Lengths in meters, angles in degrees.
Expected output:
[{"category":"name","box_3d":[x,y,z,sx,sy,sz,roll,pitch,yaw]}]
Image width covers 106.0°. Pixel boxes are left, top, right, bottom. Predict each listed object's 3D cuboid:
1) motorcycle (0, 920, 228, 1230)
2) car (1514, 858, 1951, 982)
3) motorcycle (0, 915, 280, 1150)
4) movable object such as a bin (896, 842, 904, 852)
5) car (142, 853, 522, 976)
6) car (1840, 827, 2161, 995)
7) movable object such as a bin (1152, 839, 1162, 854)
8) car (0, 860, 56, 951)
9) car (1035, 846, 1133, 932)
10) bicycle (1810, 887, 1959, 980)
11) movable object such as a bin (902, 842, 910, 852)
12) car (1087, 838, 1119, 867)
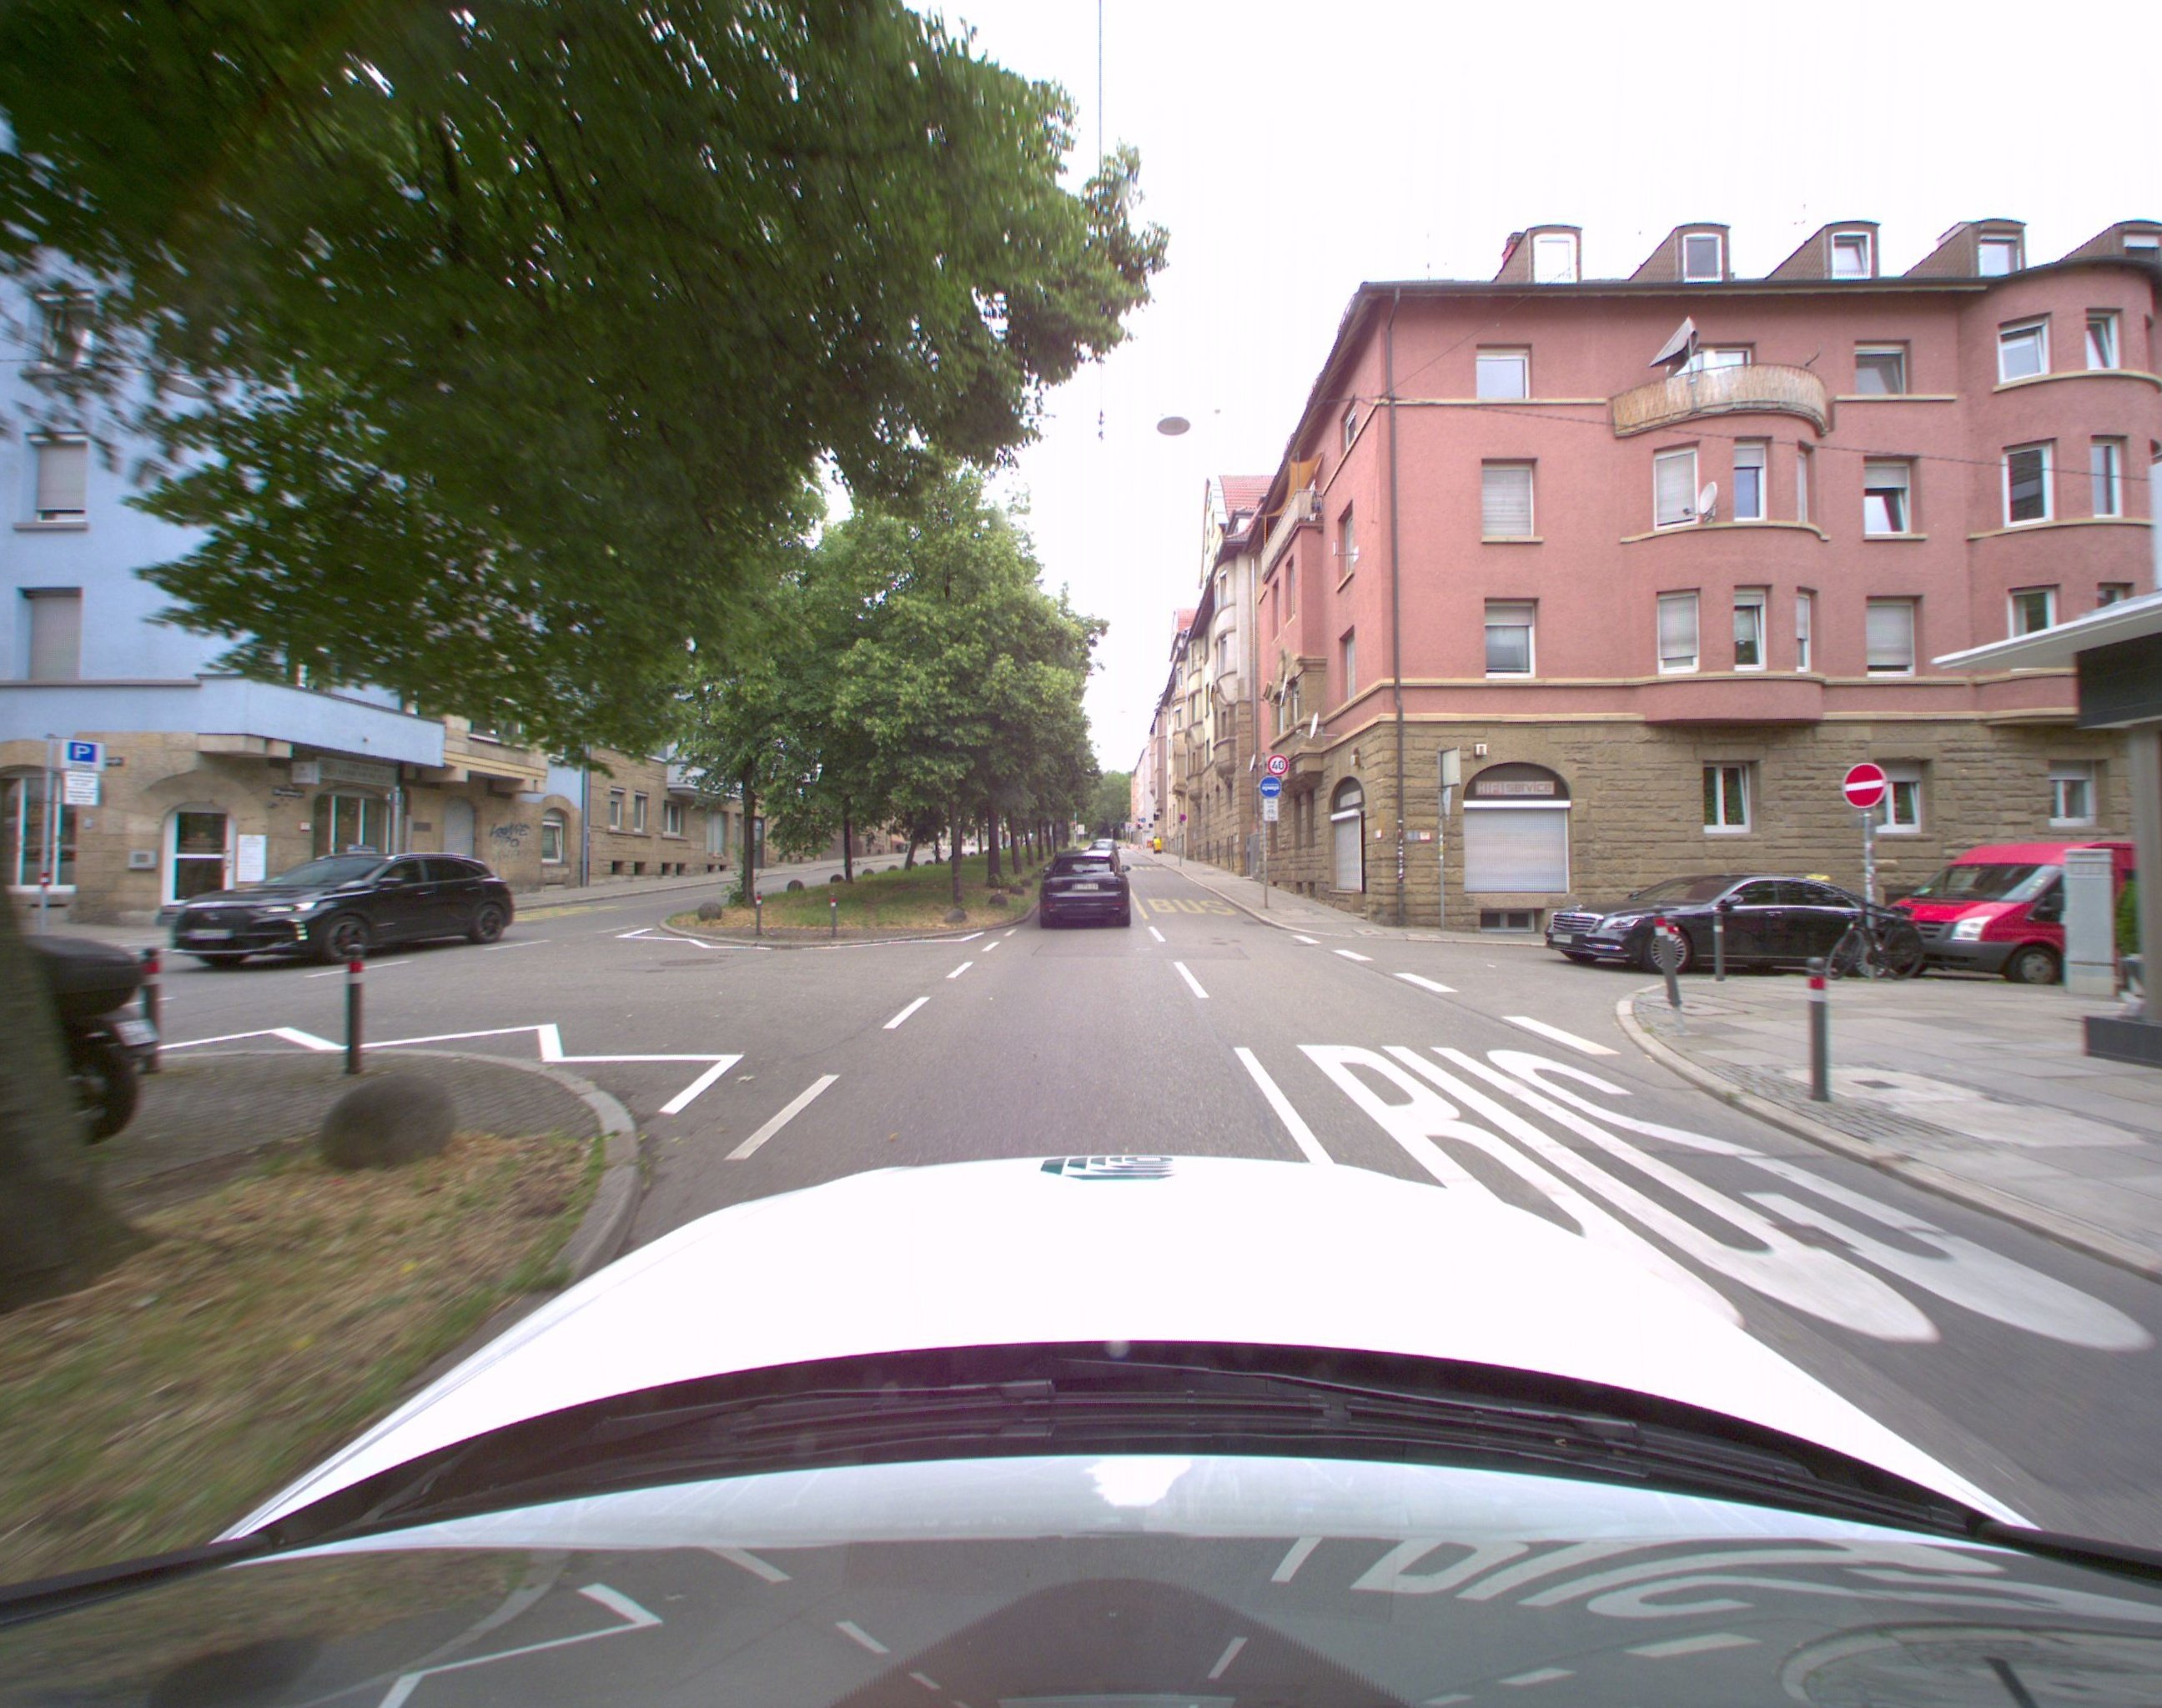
[{"category":"motorcycle","box_3d":[-4.489,0.814,2.498,0.881,1.096,2.486,0,-2,8]},{"category":"car","box_3d":[9.790,0.955,12.530,5.117,1.550,2.235,2,-1,-4]},{"category":"motorcycle","box_3d":[-5.345,0.893,4.302,1.723,1.096,0.551,0,-2,4]},{"category":"movable object such as a bin","box_3d":[-16.338,-0.668,73.623,0.607,0.904,0.601,1,1,-3]},{"category":"car","box_3d":[-11.249,0.787,12.794,1.807,1.563,4.417,0,0,1]},{"category":"car","box_3d":[15.665,0.909,12.702,5.567,2.239,2.238,3,-1,0]},{"category":"movable object such as a bin","box_3d":[7.239,-0.722,77.337,0.717,1.421,1.693,-1,0,-1]},{"category":"car","box_3d":[-20.169,0.746,13.408,3.986,1.469,1.870,5,0,-2]},{"category":"car","box_3d":[0.140,0.710,18.810,1.986,1.652,4.003,-1,2,2]},{"category":"bicycle","box_3d":[10.525,1.021,10.691,1.496,1.153,0.632,1,-1,-9]},{"category":"movable object such as a bin","box_3d":[-16.244,-0.669,75.759,0.607,0.904,0.601,1,1,-3]},{"category":"car","box_3d":[1.270,-0.111,47.729,1.746,1.593,3.631,1,1,0]}]
